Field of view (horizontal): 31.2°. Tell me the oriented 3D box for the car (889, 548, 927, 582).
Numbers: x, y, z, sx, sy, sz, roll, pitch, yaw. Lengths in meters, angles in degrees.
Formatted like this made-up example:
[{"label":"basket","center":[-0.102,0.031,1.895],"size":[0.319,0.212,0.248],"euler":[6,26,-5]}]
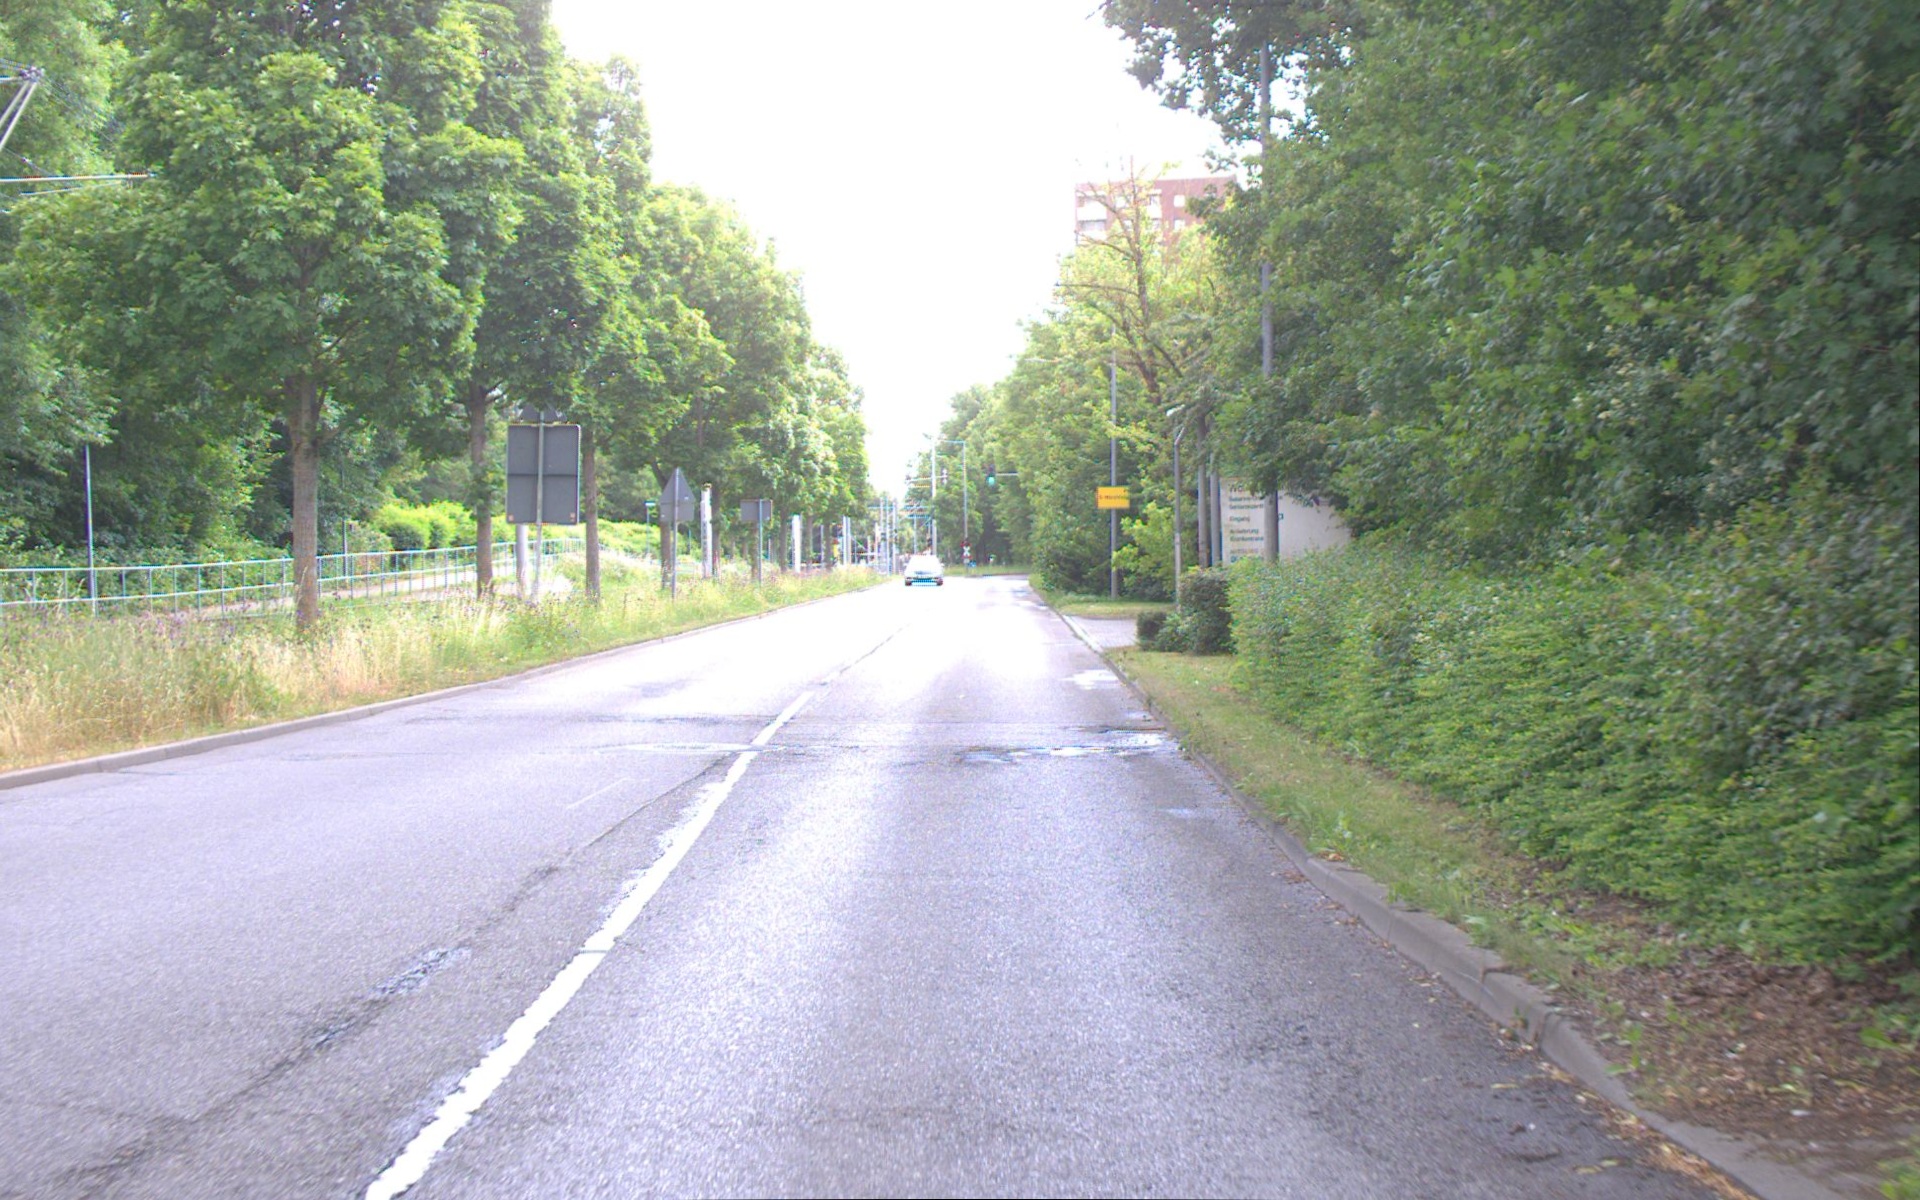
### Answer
[{"label":"car","center":[-2.515,-1.717,167.395],"size":[1.716,1.624,4.000],"euler":[1,1,1]}]
